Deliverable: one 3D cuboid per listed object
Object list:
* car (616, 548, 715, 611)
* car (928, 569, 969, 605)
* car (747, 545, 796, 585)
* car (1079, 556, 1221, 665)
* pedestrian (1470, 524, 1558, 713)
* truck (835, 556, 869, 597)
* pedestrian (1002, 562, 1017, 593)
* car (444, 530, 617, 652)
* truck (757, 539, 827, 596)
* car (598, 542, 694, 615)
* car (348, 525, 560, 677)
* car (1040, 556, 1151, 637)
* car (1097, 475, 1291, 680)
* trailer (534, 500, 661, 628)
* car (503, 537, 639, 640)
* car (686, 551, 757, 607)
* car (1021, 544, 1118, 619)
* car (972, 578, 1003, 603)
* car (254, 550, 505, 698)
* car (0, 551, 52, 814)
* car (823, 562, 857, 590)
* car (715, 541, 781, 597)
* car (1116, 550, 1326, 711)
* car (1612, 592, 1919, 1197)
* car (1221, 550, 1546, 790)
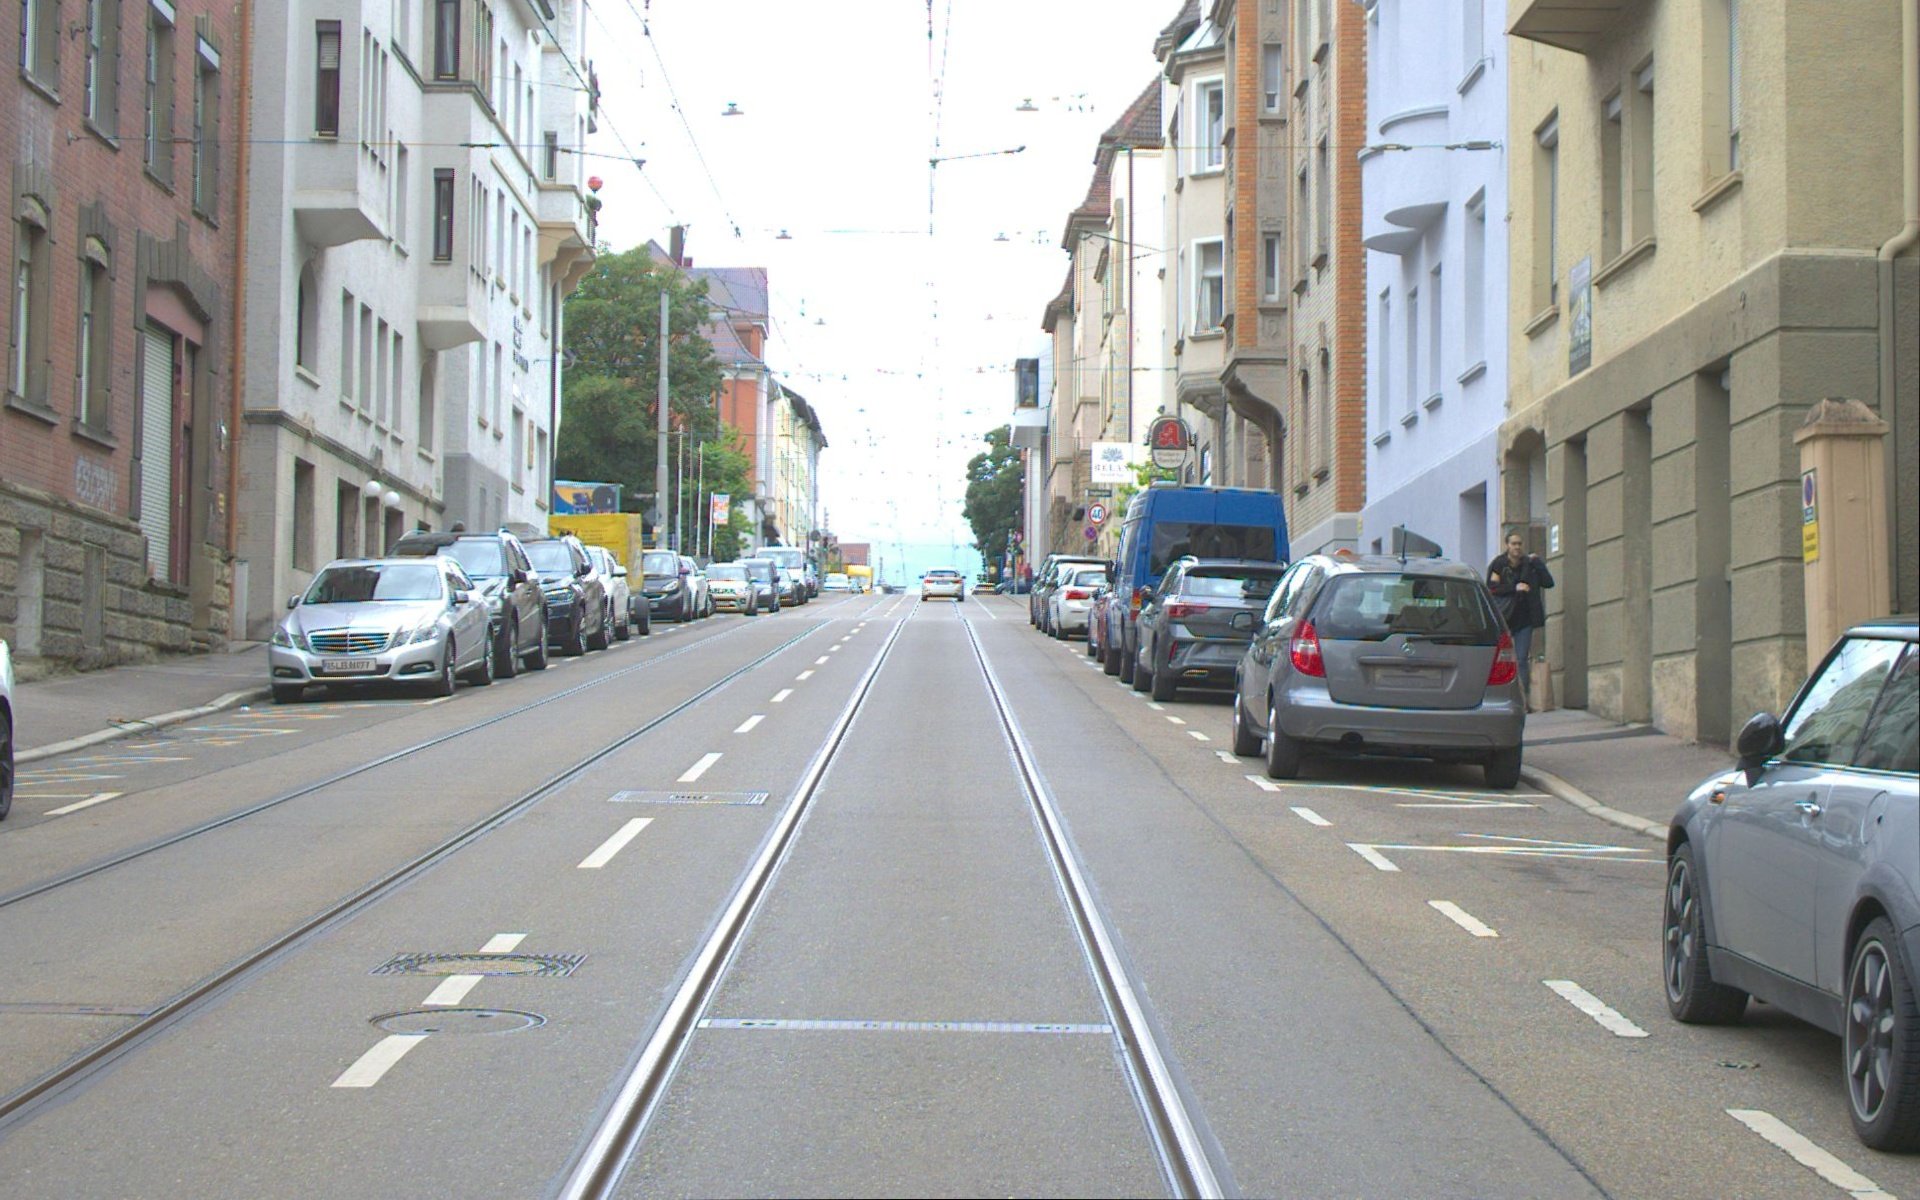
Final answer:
[{"bbox_3d":[-6.625,-0.471,77.650,1.780,1.353,4.291,1,1,1],"label":"car"},{"bbox_3d":[-0.520,-0.562,148.774,1.672,1.508,3.798,1,1,-1],"label":"car"},{"bbox_3d":[-7.104,-1.321,129.929,1.697,1.428,4.482,-1,1,-2],"label":"car"},{"bbox_3d":[2.812,0.128,51.833,1.779,1.470,4.590,3,1,-1],"label":"car"},{"bbox_3d":[5.041,0.170,31.305,0.540,1.676,0.516,-3,-2,-8],"label":"pedestrian"},{"bbox_3d":[-8.075,-1.741,257.705,2.302,3.026,9.034,1,0,0],"label":"truck"},{"bbox_3d":[2.690,-1.205,186.779,0.791,1.661,0.798,1,0,2],"label":"pedestrian"},{"bbox_3d":[-6.244,-0.168,50.460,1.873,1.658,4.892,-1,1,0],"label":"car"},{"bbox_3d":[-6.676,-1.293,137.585,2.280,2.180,8.025,1,1,1],"label":"truck"},{"bbox_3d":[-6.577,-0.462,72.326,1.697,1.463,3.023,-1,0,0],"label":"car"},{"bbox_3d":[-6.139,-0.033,42.243,1.827,1.712,4.913,-1,1,0],"label":"car"},{"bbox_3d":[2.523,-0.079,64.791,1.750,1.386,4.308,3,1,-2],"label":"car"},{"bbox_3d":[2.848,-0.273,42.896,1.993,2.368,5.056,1,0,0],"label":"car"},{"bbox_3d":[-6.369,-0.652,60.760,1.748,2.148,4.071,-1,1,0],"label":"trailer"},{"bbox_3d":[-6.362,-0.222,56.601,1.697,1.588,4.268,-1,1,0],"label":"car"},{"bbox_3d":[-6.917,-0.622,100.113,1.697,1.551,3.850,1,1,1],"label":"car"},{"bbox_3d":[2.408,-0.429,76.330,1.735,1.532,4.574,3,1,-3],"label":"car"},{"bbox_3d":[1.770,-0.614,222.809,1.993,1.558,4.290,1,1,0],"label":"car"},{"bbox_3d":[-6.130,0.207,36.832,1.827,1.424,4.839,-1,1,0],"label":"car"},{"bbox_3d":[-6.099,0.511,17.537,1.827,1.424,4.628,-3,1,-2],"label":"car"},{"bbox_3d":[-7.138,-1.454,204.441,1.855,1.601,4.297,1,1,0],"label":"car"},{"bbox_3d":[-6.856,-1.009,111.712,1.744,1.730,4.519,-1,1,1],"label":"car"},{"bbox_3d":[2.769,0.293,37.345,1.779,1.525,4.192,4,0,-1],"label":"car"},{"bbox_3d":[3.149,0.751,10.134,1.695,1.399,3.667,3,1,0],"label":"car"},{"bbox_3d":[3.016,0.444,25.274,1.827,1.514,4.028,3,1,0],"label":"car"}]
